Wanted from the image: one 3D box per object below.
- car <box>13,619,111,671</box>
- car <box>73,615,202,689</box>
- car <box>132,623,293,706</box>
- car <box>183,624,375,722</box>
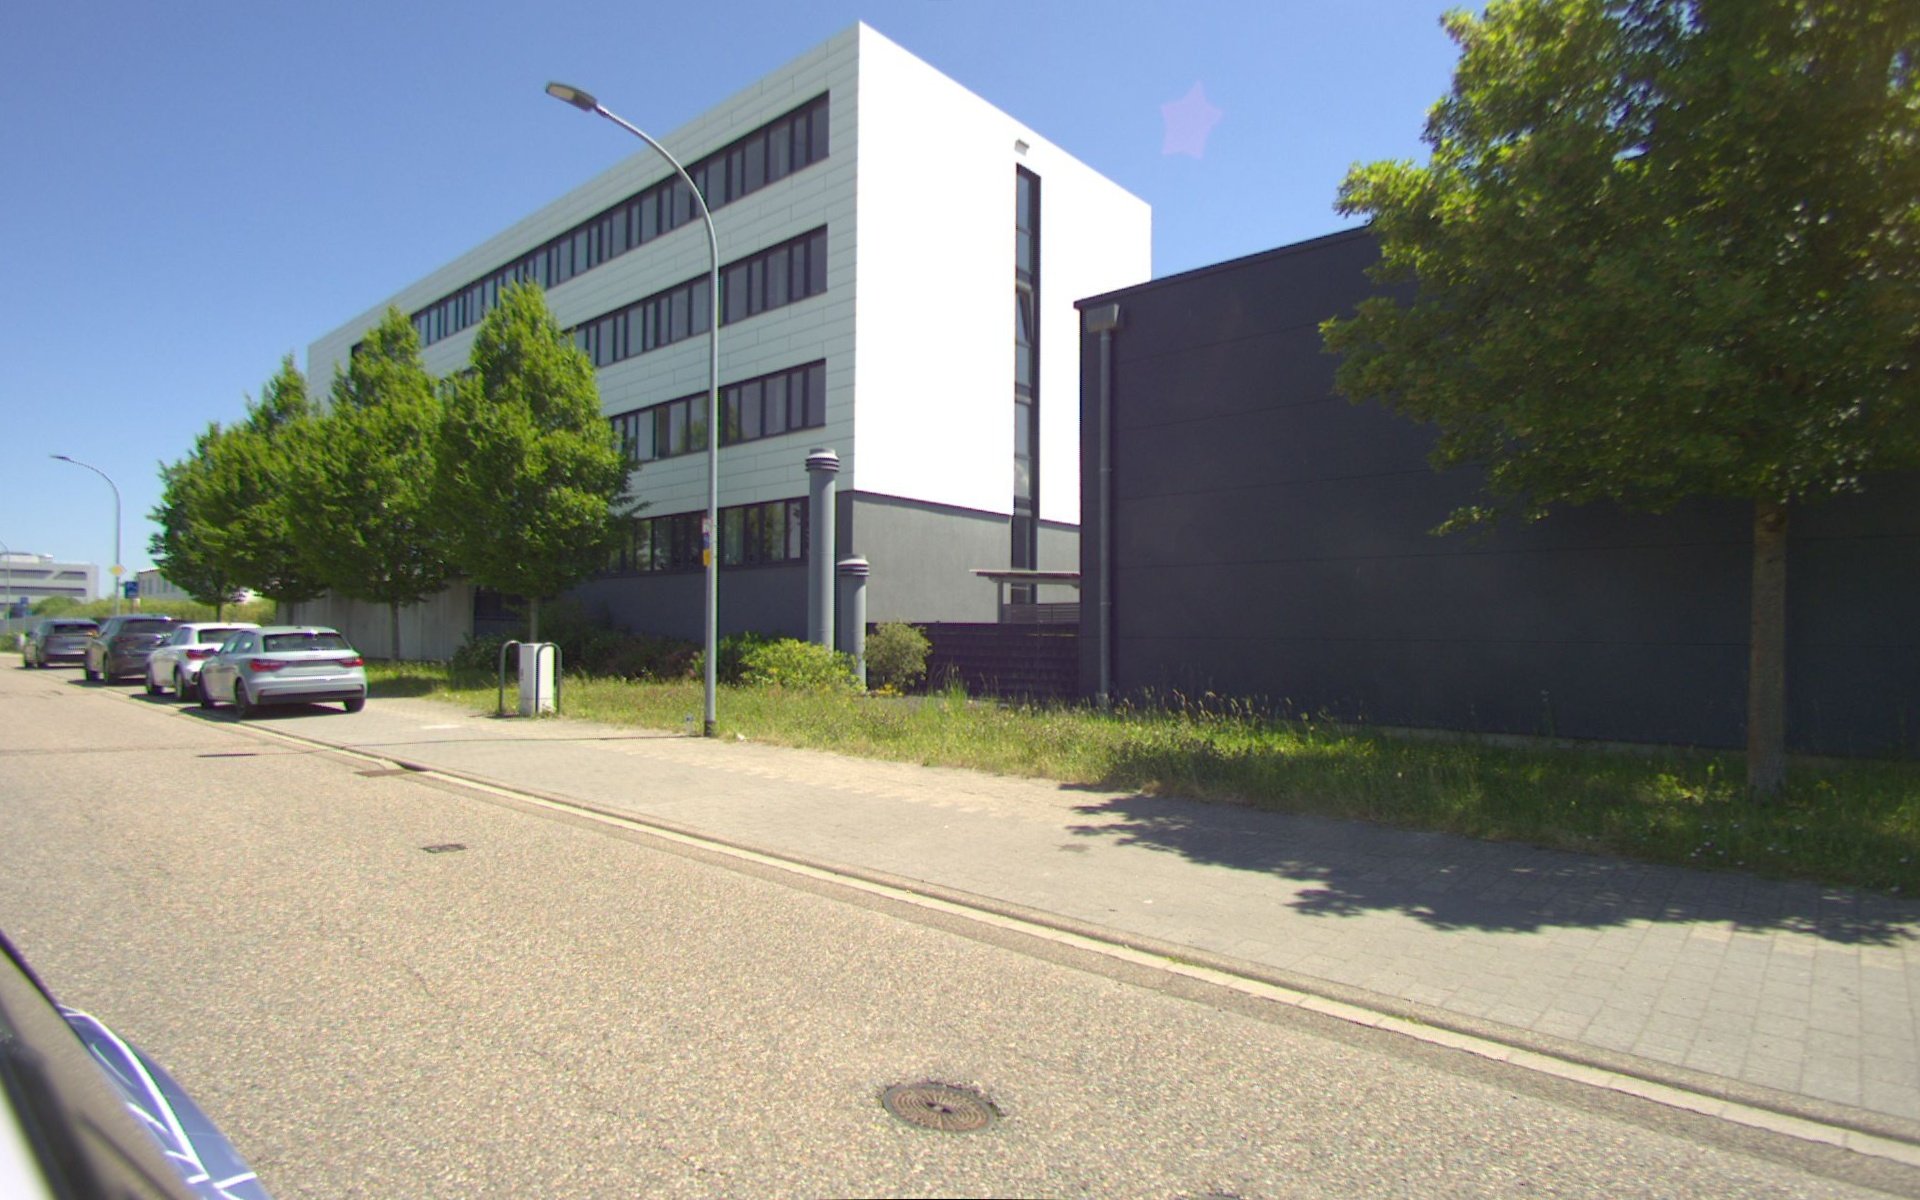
[{"bbox_3d":[-29.829,1.481,33.585,4.477,1.600,1.753,-2,-2,40],"label":"car"},{"bbox_3d":[-20.366,1.215,24.989,4.580,1.636,1.752,-1,-1,42],"label":"car"},{"bbox_3d":[-14.951,1.208,20.158,4.199,1.442,1.752,-1,-1,42],"label":"car"},{"bbox_3d":[-11.514,1.133,17.017,3.938,1.442,1.752,-1,-2,42],"label":"car"}]
